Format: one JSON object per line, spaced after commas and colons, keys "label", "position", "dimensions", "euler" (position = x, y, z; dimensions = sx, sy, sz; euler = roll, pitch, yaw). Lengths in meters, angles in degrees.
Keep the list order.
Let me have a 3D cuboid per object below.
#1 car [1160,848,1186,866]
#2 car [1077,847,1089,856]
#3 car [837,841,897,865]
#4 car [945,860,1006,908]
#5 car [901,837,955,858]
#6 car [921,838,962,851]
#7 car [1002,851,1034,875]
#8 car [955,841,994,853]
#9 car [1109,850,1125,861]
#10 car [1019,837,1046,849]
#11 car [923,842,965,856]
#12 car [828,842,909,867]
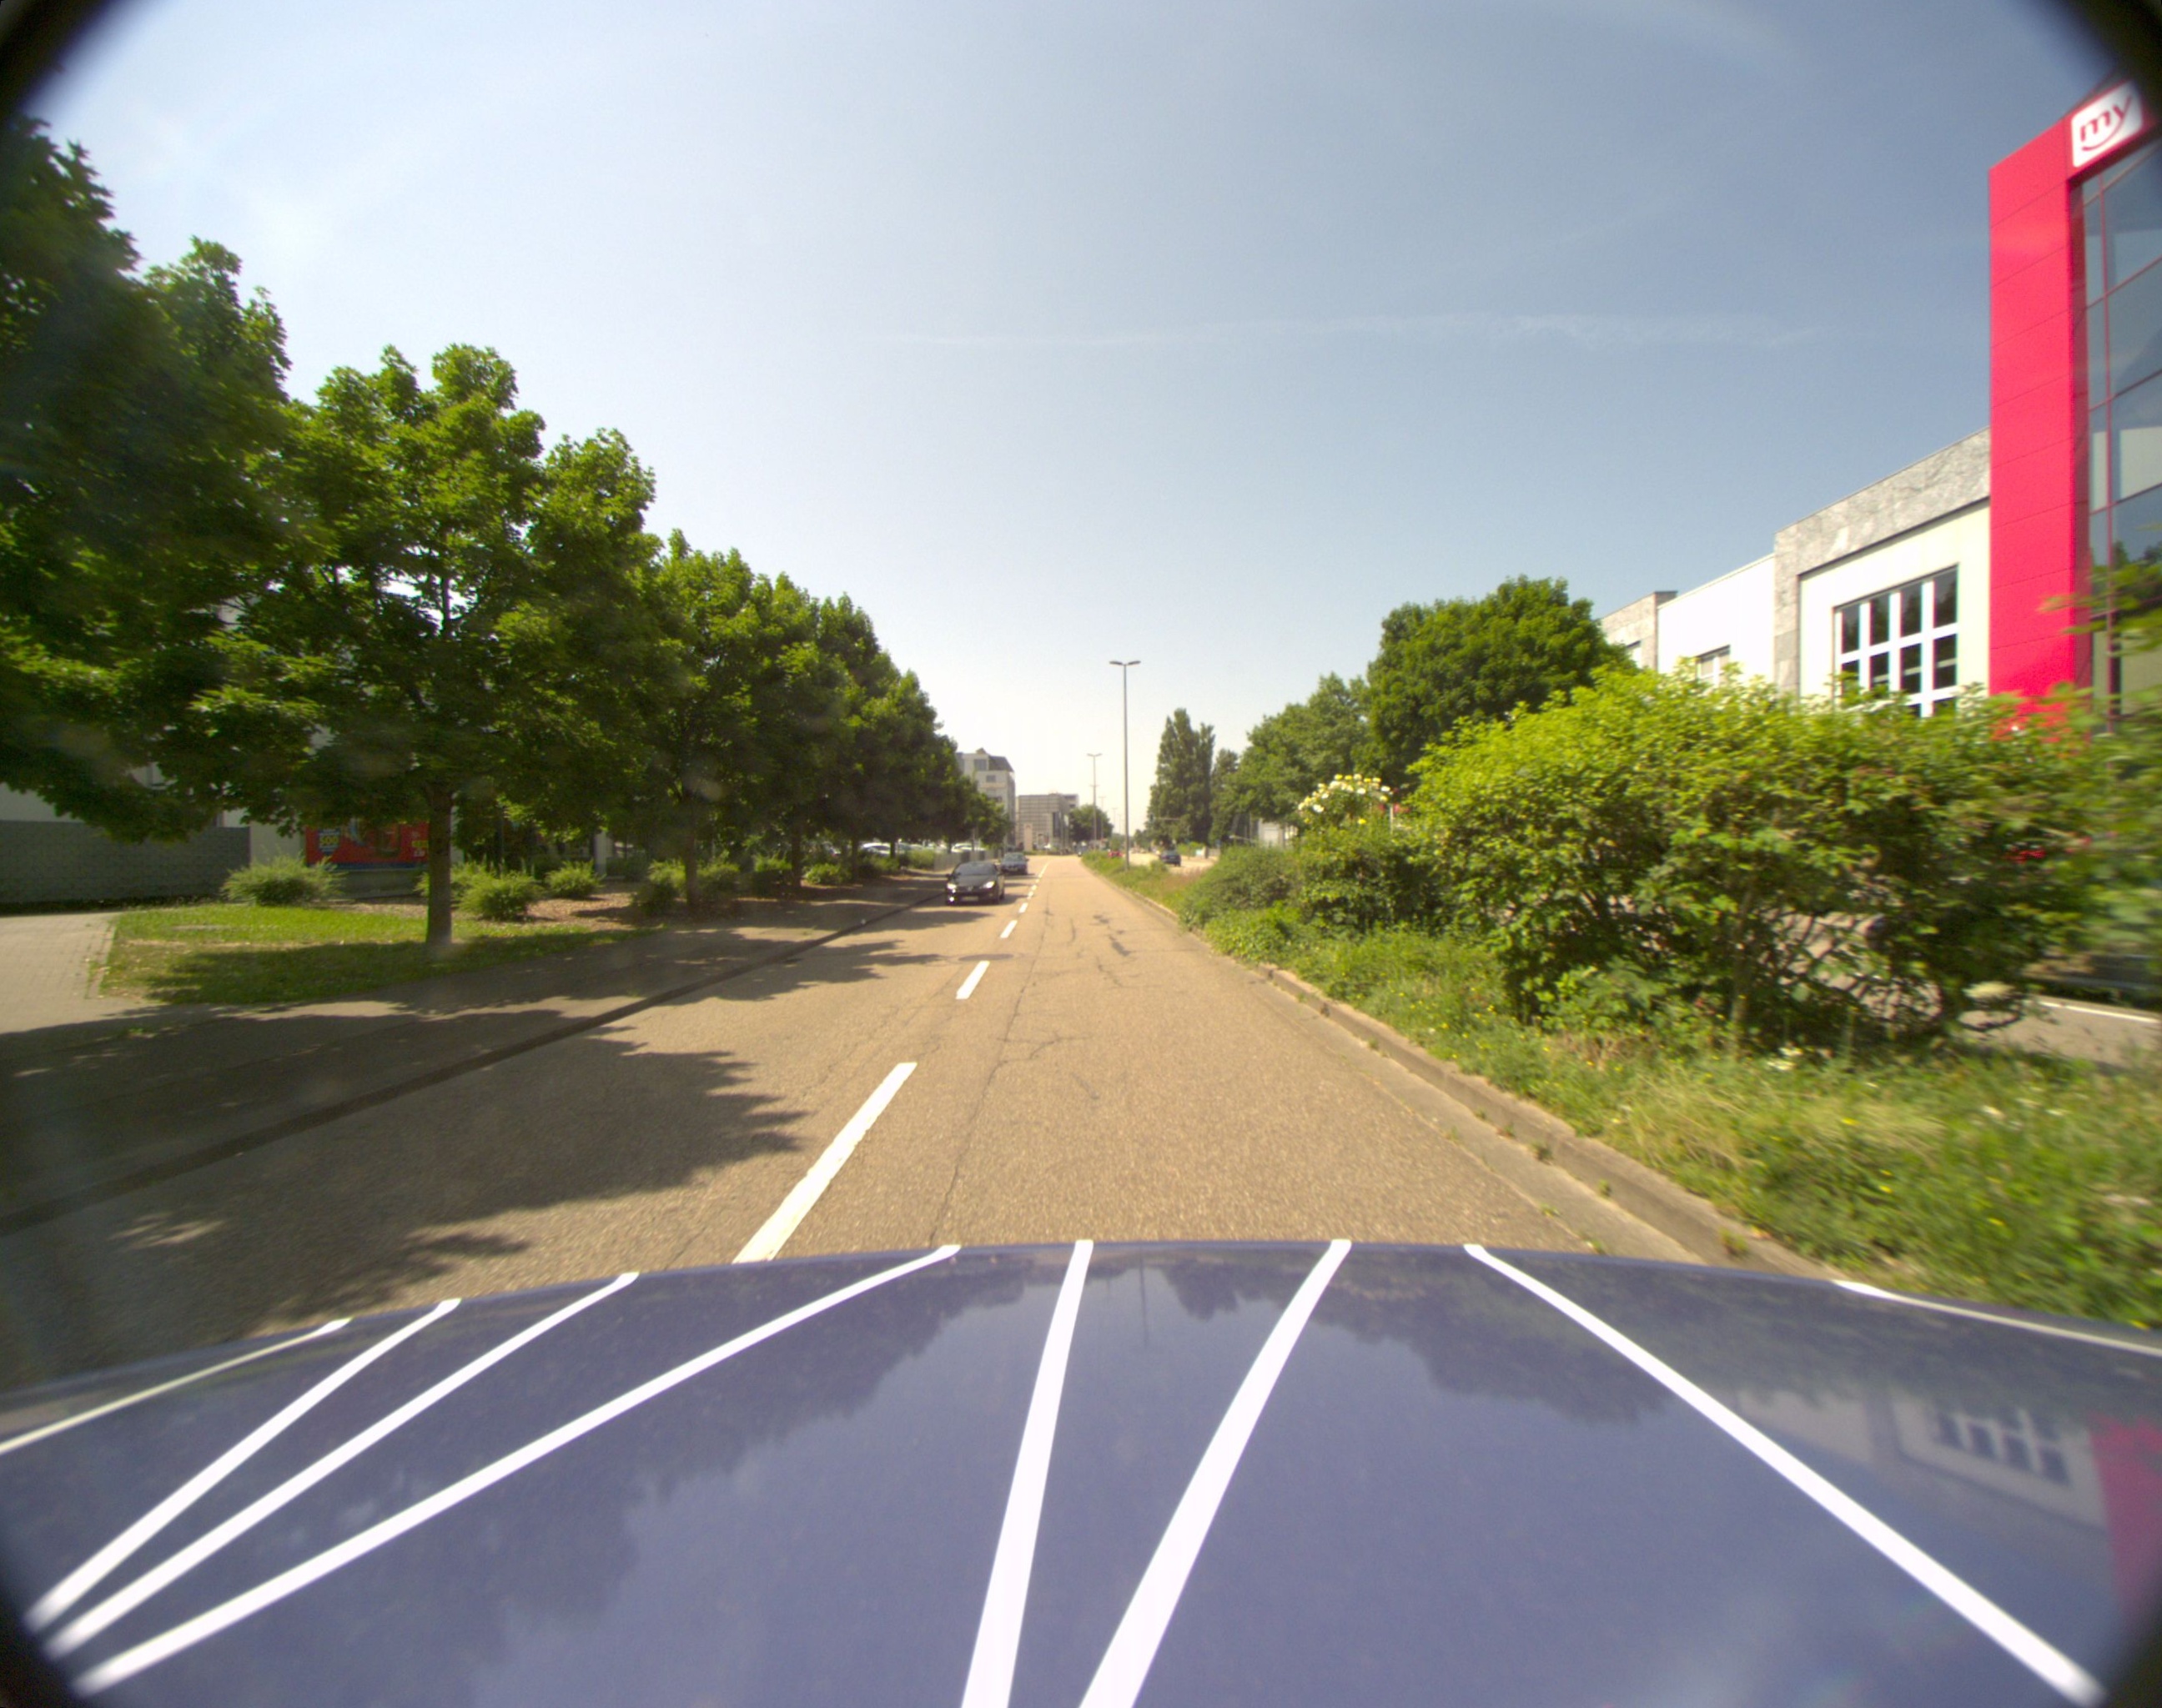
{"label": "car", "position": [8.081, 0.238, 67.020], "dimensions": [1.726, 1.408, 4.245], "euler": [2, 0, -1]}
{"label": "car", "position": [0.330, -0.420, 121.337], "dimensions": [1.867, 1.390, 4.000], "euler": [0, 0, 1]}
{"label": "car", "position": [-16.114, -0.093, 57.342], "dimensions": [3.998, 1.587, 1.826], "euler": [-2, 1, -4]}
{"label": "car", "position": [-3.389, 0.922, 24.904], "dimensions": [1.641, 1.349, 3.498], "euler": [-1, 1, -3]}
{"label": "car", "position": [-14.203, -0.588, 70.831], "dimensions": [4.628, 1.913, 1.827], "euler": [0, 1, 0]}
{"label": "car", "position": [-15.377, -1.097, 83.875], "dimensions": [4.180, 1.413, 1.698], "euler": [0, 1, 2]}
{"label": "car", "position": [-3.936, 0.522, 47.960], "dimensions": [1.711, 1.316, 3.954], "euler": [1, 2, -1]}
{"label": "car", "position": [-13.353, -0.822, 95.445], "dimensions": [4.588, 1.496, 1.697], "euler": [0, 1, -1]}
{"label": "car", "position": [4.622, 0.203, 97.593], "dimensions": [1.733, 1.316, 4.148], "euler": [1, 1, -1]}
{"label": "car", "position": [-8.850, -2.003, 138.753], "dimensions": [4.704, 1.787, 2.183], "euler": [-3, 1, 4]}
{"label": "car", "position": [-14.006, -0.482, 78.004], "dimensions": [4.006, 1.413, 1.697], "euler": [0, 1, 0]}
{"label": "car", "position": [-14.575, 0.012, 52.361], "dimensions": [5.004, 1.587, 2.022], "euler": [1, 1, -2]}
